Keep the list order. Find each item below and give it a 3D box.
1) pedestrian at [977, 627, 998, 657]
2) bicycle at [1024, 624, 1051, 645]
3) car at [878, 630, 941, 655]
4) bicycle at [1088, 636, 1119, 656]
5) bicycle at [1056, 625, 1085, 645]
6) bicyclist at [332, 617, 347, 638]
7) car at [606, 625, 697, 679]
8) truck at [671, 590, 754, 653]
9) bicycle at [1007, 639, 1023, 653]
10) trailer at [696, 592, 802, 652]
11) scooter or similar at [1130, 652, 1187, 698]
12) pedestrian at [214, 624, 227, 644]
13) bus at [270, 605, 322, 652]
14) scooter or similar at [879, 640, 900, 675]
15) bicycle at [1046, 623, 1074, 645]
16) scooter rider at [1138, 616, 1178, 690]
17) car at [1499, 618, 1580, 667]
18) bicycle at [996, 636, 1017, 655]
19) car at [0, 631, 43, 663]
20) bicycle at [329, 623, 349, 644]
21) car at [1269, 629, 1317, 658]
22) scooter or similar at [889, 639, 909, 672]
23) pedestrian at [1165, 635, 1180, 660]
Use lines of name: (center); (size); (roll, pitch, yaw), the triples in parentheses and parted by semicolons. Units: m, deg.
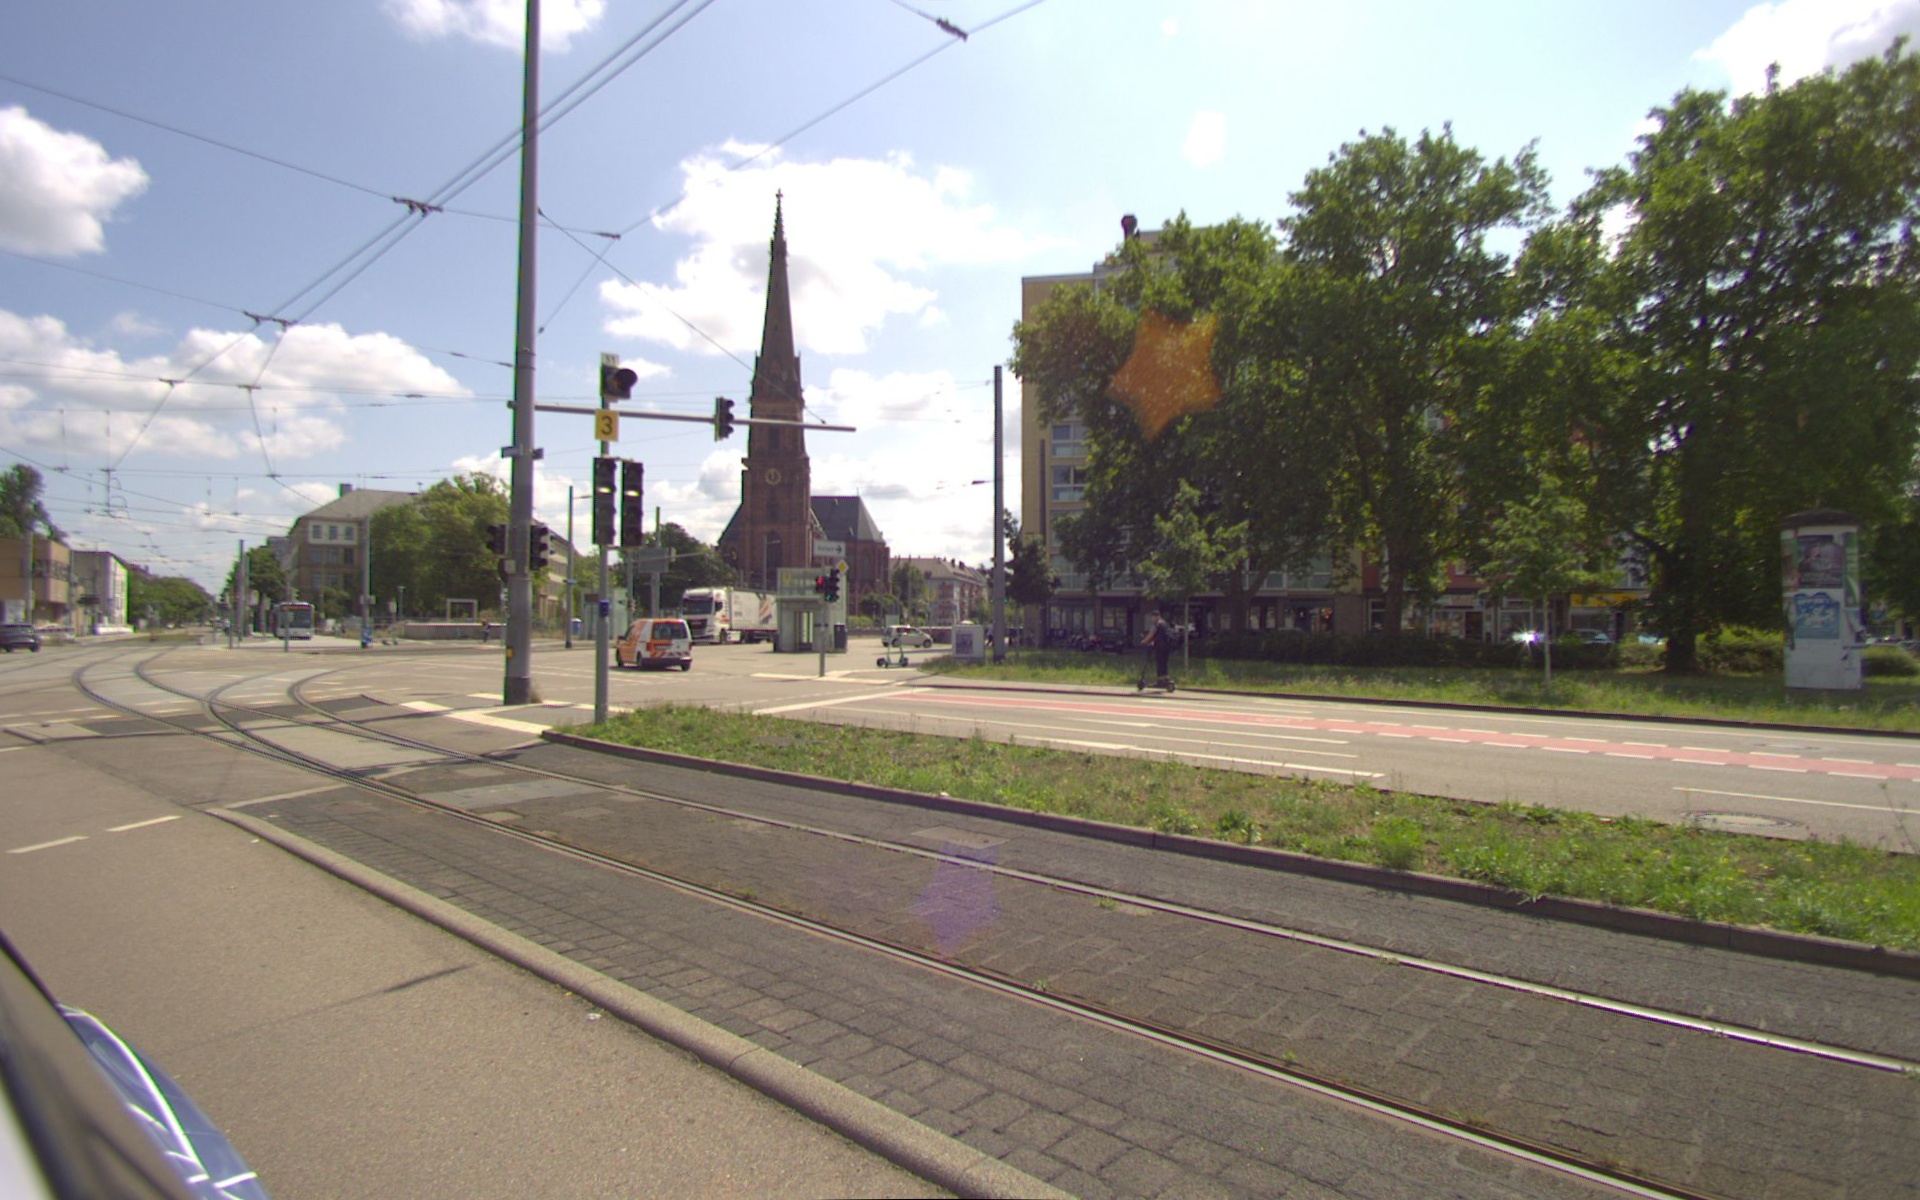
pedestrian: (1.432, 2.172, 52.387); (0.873, 1.572, 0.719); (-1, -2, 20)
bicycle: (4.722, 2.073, 61.654); (1.585, 1.274, 0.491); (0, -1, 12)
car: (-3.464, 2.887, 69.638); (4.101, 1.655, 1.634); (1, -2, -30)
bicycle: (7.712, 2.452, 54.374); (1.585, 1.074, 0.491); (0, -1, 12)
bicycle: (6.320, 1.997, 57.881); (1.585, 1.176, 0.491); (0, -1, 12)
bicyclist: (-61.006, 2.694, 99.498); (1.108, 2.029, 1.322); (3, -3, -39)
car: (-10.968, 1.796, 35.802); (1.742, 1.779, 4.251); (2, -3, -36)
truck: (-16.880, 1.506, 69.632); (2.933, 4.150, 6.853); (0, -2, 11)
bicycle: (3.763, 3.158, 68.985); (1.053, 0.945, 0.377); (-1, -2, 8)
trailer: (-15.587, 1.727, 76.340); (2.918, 4.107, 13.371); (0, -2, 11)
scooter or similar: (4.742, 1.771, 24.166); (1.092, 1.040, 0.795); (-1, -2, 42)
pedestrian: (-69.772, 3.200, 95.467); (0.897, 1.837, 1.023); (3, -3, -39)
bus: (-52.044, 2.214, 79.250); (2.904, 3.474, 7.965); (1, -2, -37)
scooter or similar: (-2.444, 1.992, 35.087); (0.549, 1.209, 0.456); (-2, -2, 41)
bicycle: (5.838, 1.979, 58.949); (1.585, 1.274, 0.491); (0, -1, 12)
scooter rider: (4.735, 1.248, 24.187); (0.649, 1.720, 0.768); (-1, -2, 42)
car: (24.981, 1.805, 43.799); (1.981, 2.029, 3.981); (0, -2, 14)
bicycle: (2.830, 2.808, 62.151); (1.259, 1.154, 0.458); (-1, -2, 8)
car: (-48.532, 2.359, 51.190); (4.087, 1.572, 1.798); (-1, -3, 27)
bicycle: (-61.116, 3.331, 99.622); (1.228, 2.029, 3.491); (2, -2, -39)
car: (17.950, 2.348, 54.689); (1.859, 1.522, 3.919); (-1, -2, 9)
scooter or similar: (-2.147, 1.945, 35.658); (0.556, 1.133, 0.411); (-2, -2, 41)
pedestrian: (11.567, 2.604, 55.179); (0.751, 1.336, 0.561); (0, -1, 7)
